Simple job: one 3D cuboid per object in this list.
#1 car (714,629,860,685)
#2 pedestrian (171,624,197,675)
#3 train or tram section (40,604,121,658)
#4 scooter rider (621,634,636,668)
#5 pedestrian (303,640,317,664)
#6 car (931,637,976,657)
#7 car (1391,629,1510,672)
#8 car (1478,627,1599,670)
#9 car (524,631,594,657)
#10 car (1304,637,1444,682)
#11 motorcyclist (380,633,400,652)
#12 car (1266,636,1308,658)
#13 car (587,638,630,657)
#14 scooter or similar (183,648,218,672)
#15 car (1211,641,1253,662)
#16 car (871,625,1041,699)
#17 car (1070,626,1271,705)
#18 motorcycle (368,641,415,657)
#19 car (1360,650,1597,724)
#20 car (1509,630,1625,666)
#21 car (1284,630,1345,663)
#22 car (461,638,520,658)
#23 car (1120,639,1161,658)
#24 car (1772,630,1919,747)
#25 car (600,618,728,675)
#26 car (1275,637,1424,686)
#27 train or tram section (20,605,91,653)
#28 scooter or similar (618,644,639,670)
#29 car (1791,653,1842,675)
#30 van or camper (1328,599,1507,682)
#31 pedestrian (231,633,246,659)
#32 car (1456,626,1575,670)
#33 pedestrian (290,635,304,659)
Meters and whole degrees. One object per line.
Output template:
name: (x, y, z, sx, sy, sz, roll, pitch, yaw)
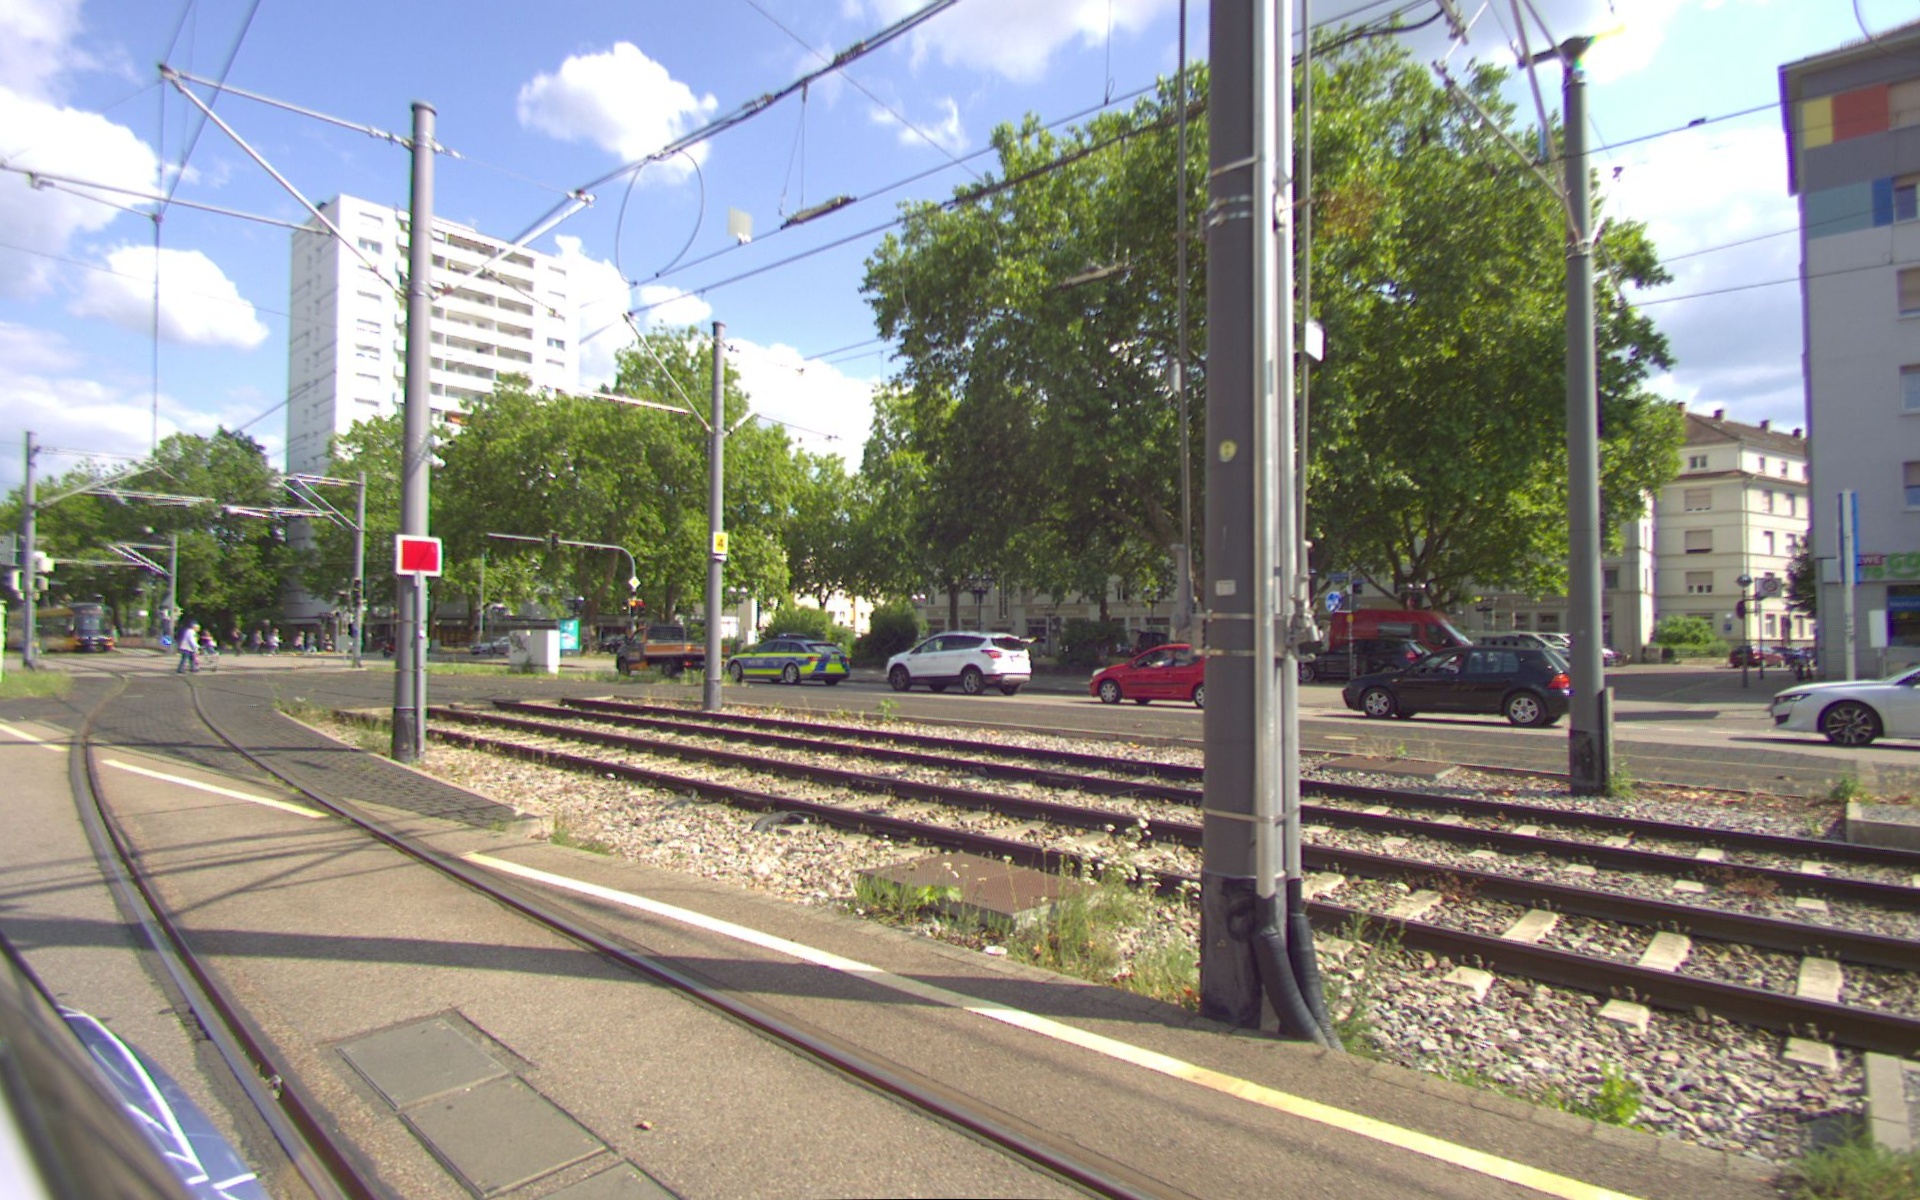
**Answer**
car: (-5.707, 1.845, 32.980, 5.151, 1.665, 1.847, -2, -5, 42)
pedestrian: (-26.685, 1.699, 34.813, 0.556, 1.746, 0.521, -2, -3, 36)
train or tram section: (-63.227, 2.241, 72.632, 11.371, 3.588, 2.766, -2, -3, 41)
scooter rider: (-16.010, 2.469, 48.872, 0.540, 1.605, 0.435, -1, -1, 19)
pedestrian: (-46.260, 3.677, 72.020, 0.648, 1.716, 0.662, -2, -3, 44)
car: (-0.570, 4.103, 89.145, 1.849, 1.672, 4.031, -2, -3, 38)
car: (19.283, 1.976, 39.870, 3.997, 1.616, 1.510, -2, -4, 41)
car: (29.826, 2.497, 52.288, 5.244, 2.102, 1.975, -1, -5, 37)
car: (-30.619, 3.370, 77.405, 1.986, 1.906, 5.134, -1, -3, 21)
car: (13.754, 1.957, 33.726, 3.997, 1.421, 1.734, -2, -3, 40)
motorcyclist: (-36.039, 2.681, 64.011, 0.962, 1.227, 0.699, 2, -3, -43)
car: (25.712, 3.704, 79.483, 1.849, 1.672, 4.030, -2, -3, 38)
car: (-32.346, 4.349, 93.137, 1.677, 1.632, 3.975, -1, -2, 18)
scooter or similar: (-26.394, 2.092, 35.178, 0.553, 0.810, 0.830, -2, -3, 37)
car: (22.335, 4.224, 82.949, 1.849, 1.672, 4.030, -2, -3, 38)
car: (-0.182, 1.637, 27.979, 4.678, 1.619, 1.741, 3, 0, 41)
car: (4.701, 1.489, 22.934, 4.141, 1.619, 1.694, -4, -4, 41)
motorcycle: (-35.965, 3.080, 64.062, 2.467, 0.984, 0.699, 2, -3, -43)
car: (9.573, 1.555, 18.846, 3.633, 1.198, 1.599, -2, -3, 43)
car: (33.433, 2.631, 55.835, 5.247, 1.886, 1.974, -2, -5, 39)
car: (23.540, 3.089, 67.110, 3.872, 2.029, 2.258, 5, -6, -41)
car: (-36.865, 3.754, 79.499, 1.850, 1.501, 3.967, -1, -3, 24)
car: (15.914, 4.255, 89.008, 1.850, 1.672, 4.029, -2, -3, 39)
car: (14.696, 1.271, 14.191, 5.074, 1.619, 1.927, -1, -4, 41)
car: (-11.059, 1.777, 37.632, 5.333, 2.002, 2.053, -4, -4, 41)
car: (12.099, 1.886, 31.593, 3.997, 1.421, 1.734, -2, -3, 40)
train or tram section: (-71.653, 2.351, 80.042, 11.175, 3.588, 2.776, -2, -3, 41)
scooter or similar: (-16.014, 2.738, 48.832, 0.540, 1.235, 0.871, -1, -1, 19)
car: (58.740, 4.389, 69.402, 3.719, 1.427, 1.678, 1, -3, -34)
van or camper: (15.974, 1.452, 35.543, 5.349, 2.661, 2.079, -2, -6, 43)
pedestrian: (-48.606, 3.098, 68.163, 0.648, 1.716, 0.662, -2, -3, 44)
car: (26.480, 2.284, 48.341, 4.679, 1.949, 1.973, -2, -5, 40)
pedestrian: (-48.116, 3.393, 73.465, 0.648, 1.716, 0.662, -2, -3, 44)
